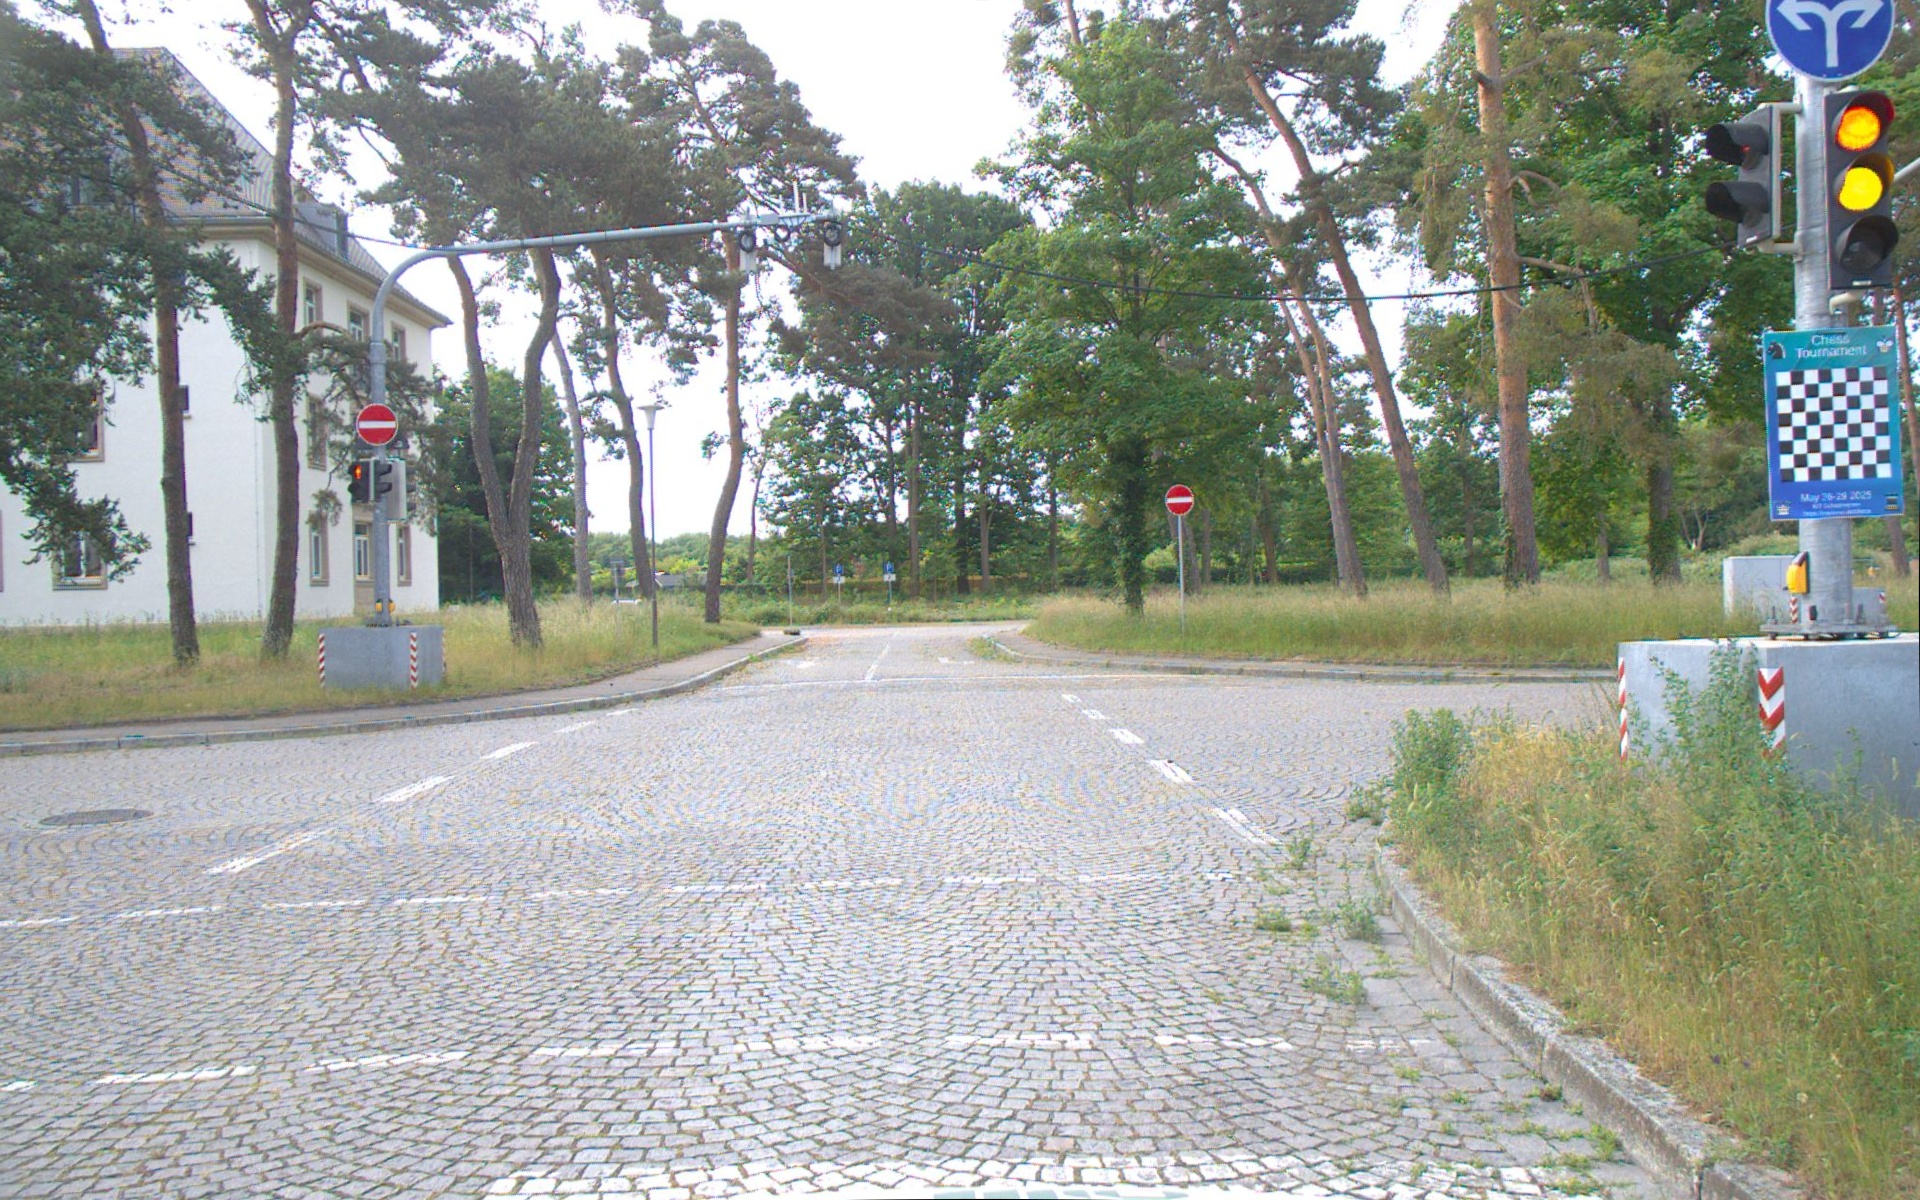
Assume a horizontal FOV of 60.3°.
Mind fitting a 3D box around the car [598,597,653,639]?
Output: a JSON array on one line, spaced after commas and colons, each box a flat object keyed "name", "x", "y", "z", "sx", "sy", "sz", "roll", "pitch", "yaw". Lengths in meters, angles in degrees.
[{"name": "car", "x": -15.219, "y": 0.796, "z": 75.444, "sx": 1.954, "sy": 1.878, "sz": 3.997, "roll": 0, "pitch": 0, "yaw": -4}]

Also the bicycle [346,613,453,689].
[{"name": "bicycle", "x": -8.644, "y": 0.782, "z": 25.553, "sx": 1.435, "sy": 1.083, "sz": 0.516, "roll": -2, "pitch": 1, "yaw": -4}]
